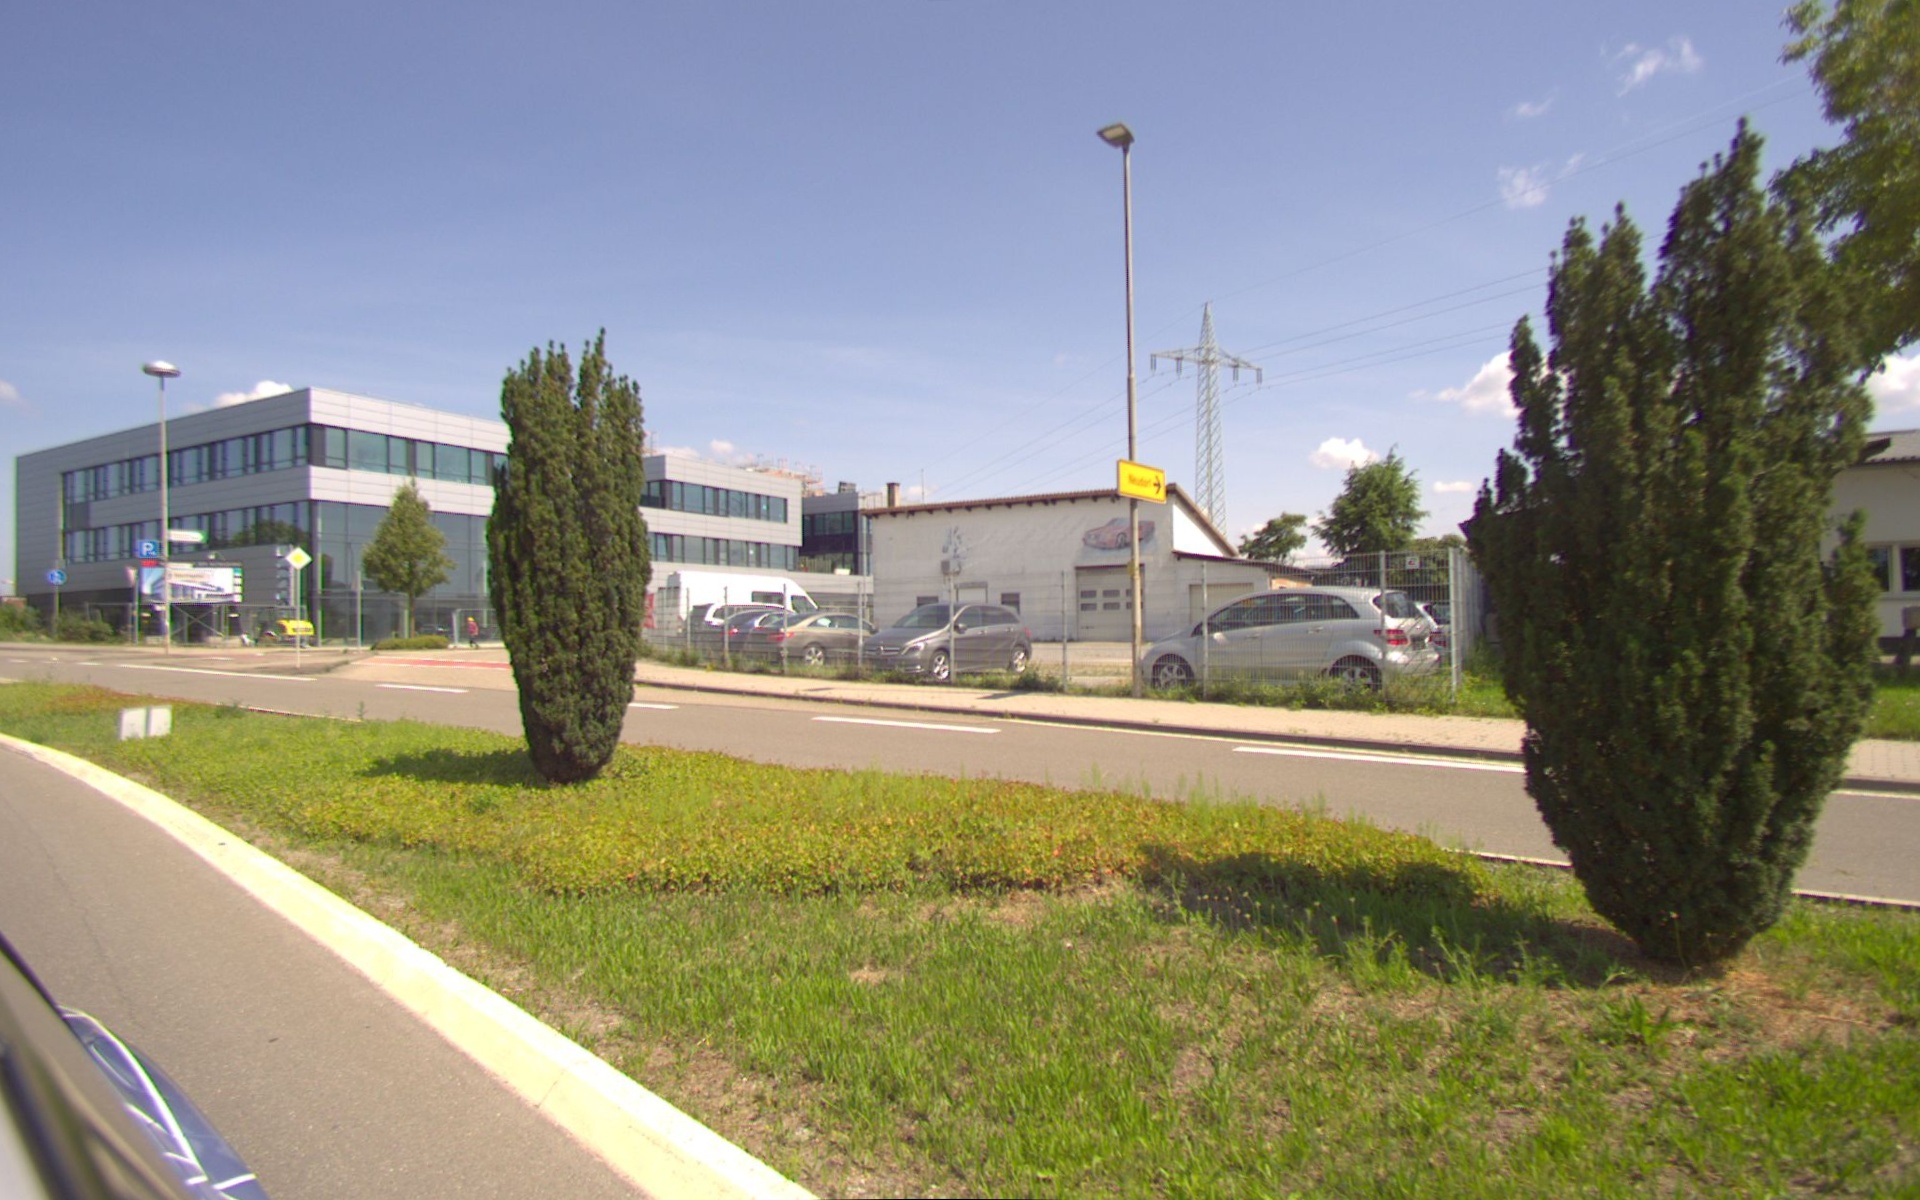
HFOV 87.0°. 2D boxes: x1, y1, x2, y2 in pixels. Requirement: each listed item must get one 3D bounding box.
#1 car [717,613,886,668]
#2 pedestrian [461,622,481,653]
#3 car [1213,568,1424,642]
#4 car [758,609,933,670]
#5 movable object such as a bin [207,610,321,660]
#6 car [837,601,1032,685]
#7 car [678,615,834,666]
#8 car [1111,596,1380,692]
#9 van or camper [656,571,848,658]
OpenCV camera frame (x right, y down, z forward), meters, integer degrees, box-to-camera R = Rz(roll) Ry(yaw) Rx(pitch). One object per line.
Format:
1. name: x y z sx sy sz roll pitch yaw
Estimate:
1. car: -4.152 1.023 26.695 3.935 1.331 2.004 0 -2 -38
2. pedestrian: -28.267 2.162 58.505 0.771 1.741 0.775 -1 -1 28
3. car: 7.730 0.154 21.864 3.986 1.453 1.979 -1 -1 31
4. car: -2.696 0.904 24.140 3.827 1.331 1.695 0 -2 -38
5. movable object such as a bin: -35.502 1.755 51.644 5.422 2.428 2.156 -1 -1 21
6. car: -0.432 0.828 20.721 1.997 1.530 3.950 -1 -2 37
7. car: -5.747 1.111 28.734 3.935 1.331 1.839 0 -2 -38
8. car: 4.798 0.712 17.115 3.987 1.453 1.978 -1 -1 32
9. van or camper: -6.445 0.432 31.589 5.494 2.516 2.085 0 -1 -32
